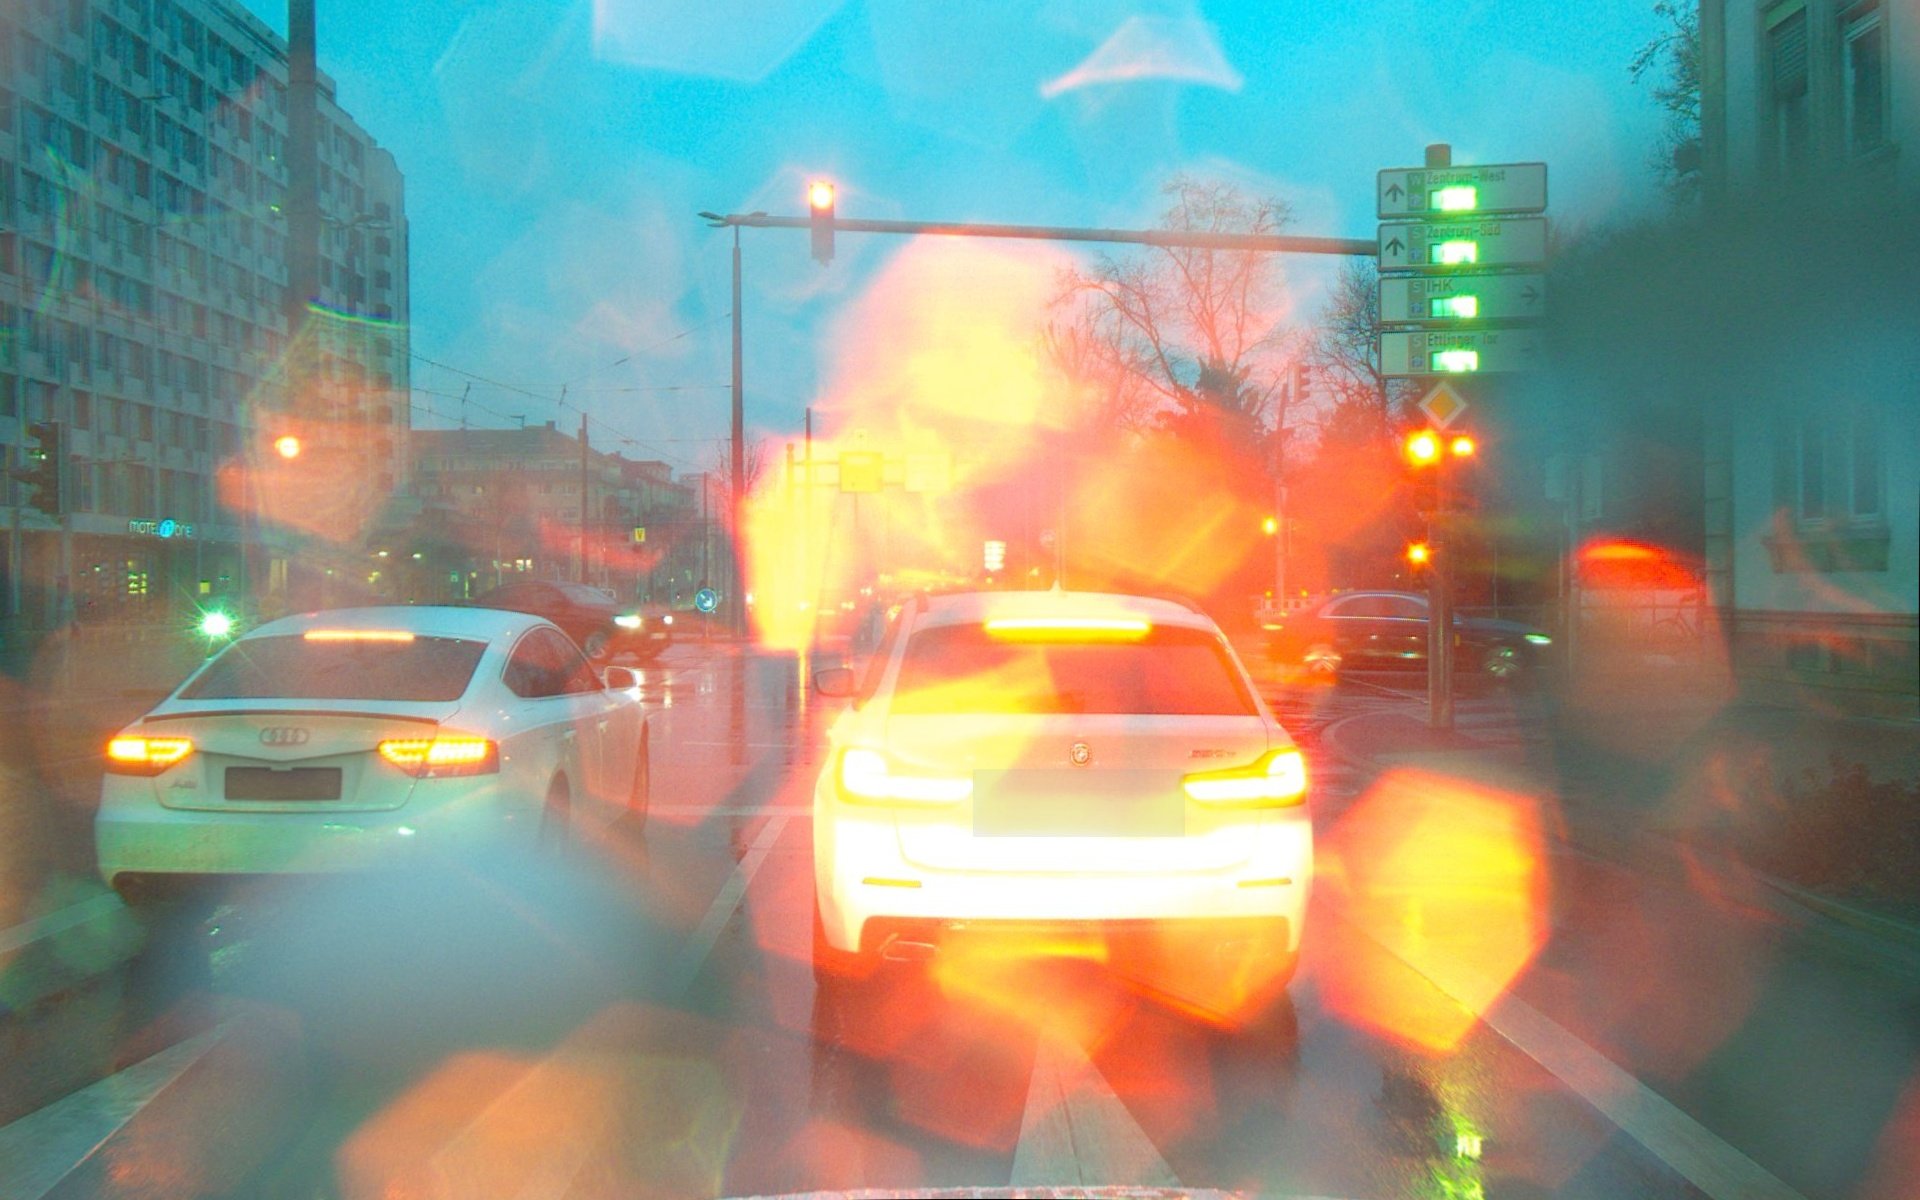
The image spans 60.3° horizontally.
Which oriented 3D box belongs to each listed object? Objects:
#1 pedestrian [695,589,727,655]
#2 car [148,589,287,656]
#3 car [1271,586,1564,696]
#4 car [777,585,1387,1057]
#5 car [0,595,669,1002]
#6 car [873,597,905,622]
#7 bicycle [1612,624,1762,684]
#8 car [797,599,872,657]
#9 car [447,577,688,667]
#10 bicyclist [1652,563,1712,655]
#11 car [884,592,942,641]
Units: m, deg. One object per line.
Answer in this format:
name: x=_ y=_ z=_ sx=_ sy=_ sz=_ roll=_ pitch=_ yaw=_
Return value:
pedestrian: x=-7.211 y=0.636 z=47.933 sx=0.886 sy=1.888 sz=0.810 roll=1 pitch=-1 yaw=-10
car: x=-18.212 y=0.519 z=40.483 sx=1.749 sy=1.557 sz=4.256 roll=1 pitch=-1 yaw=-44
car: x=7.683 y=0.657 z=27.794 sx=4.598 sy=1.750 sz=1.869 roll=0 pitch=-1 yaw=19
car: x=0.296 y=0.675 z=7.448 sx=1.954 sy=1.481 sz=4.366 roll=0 pitch=1 yaw=-3
car: x=-2.740 y=0.734 z=8.394 sx=1.954 sy=1.481 sz=4.366 roll=0 pitch=1 yaw=-3
car: x=-4.424 y=0.600 z=103.166 sx=1.954 sy=1.481 sz=4.366 roll=0 pitch=1 yaw=-3
bicycle: x=14.358 y=1.063 z=32.749 sx=2.610 sy=1.108 sz=0.815 roll=1 pitch=-1 yaw=15
car: x=-3.734 y=0.835 z=49.658 sx=1.805 sy=1.637 sz=3.946 roll=1 pitch=0 yaw=2
car: x=-8.094 y=0.437 z=34.107 sx=4.600 sy=1.750 sz=1.901 roll=0 pitch=-1 yaw=22
bicyclist: x=14.297 y=0.177 z=32.774 sx=0.951 sy=1.789 sz=0.814 roll=1 pitch=-1 yaw=15
car: x=-1.682 y=0.573 z=58.013 sx=1.807 sy=1.637 sz=3.941 roll=1 pitch=0 yaw=-5
